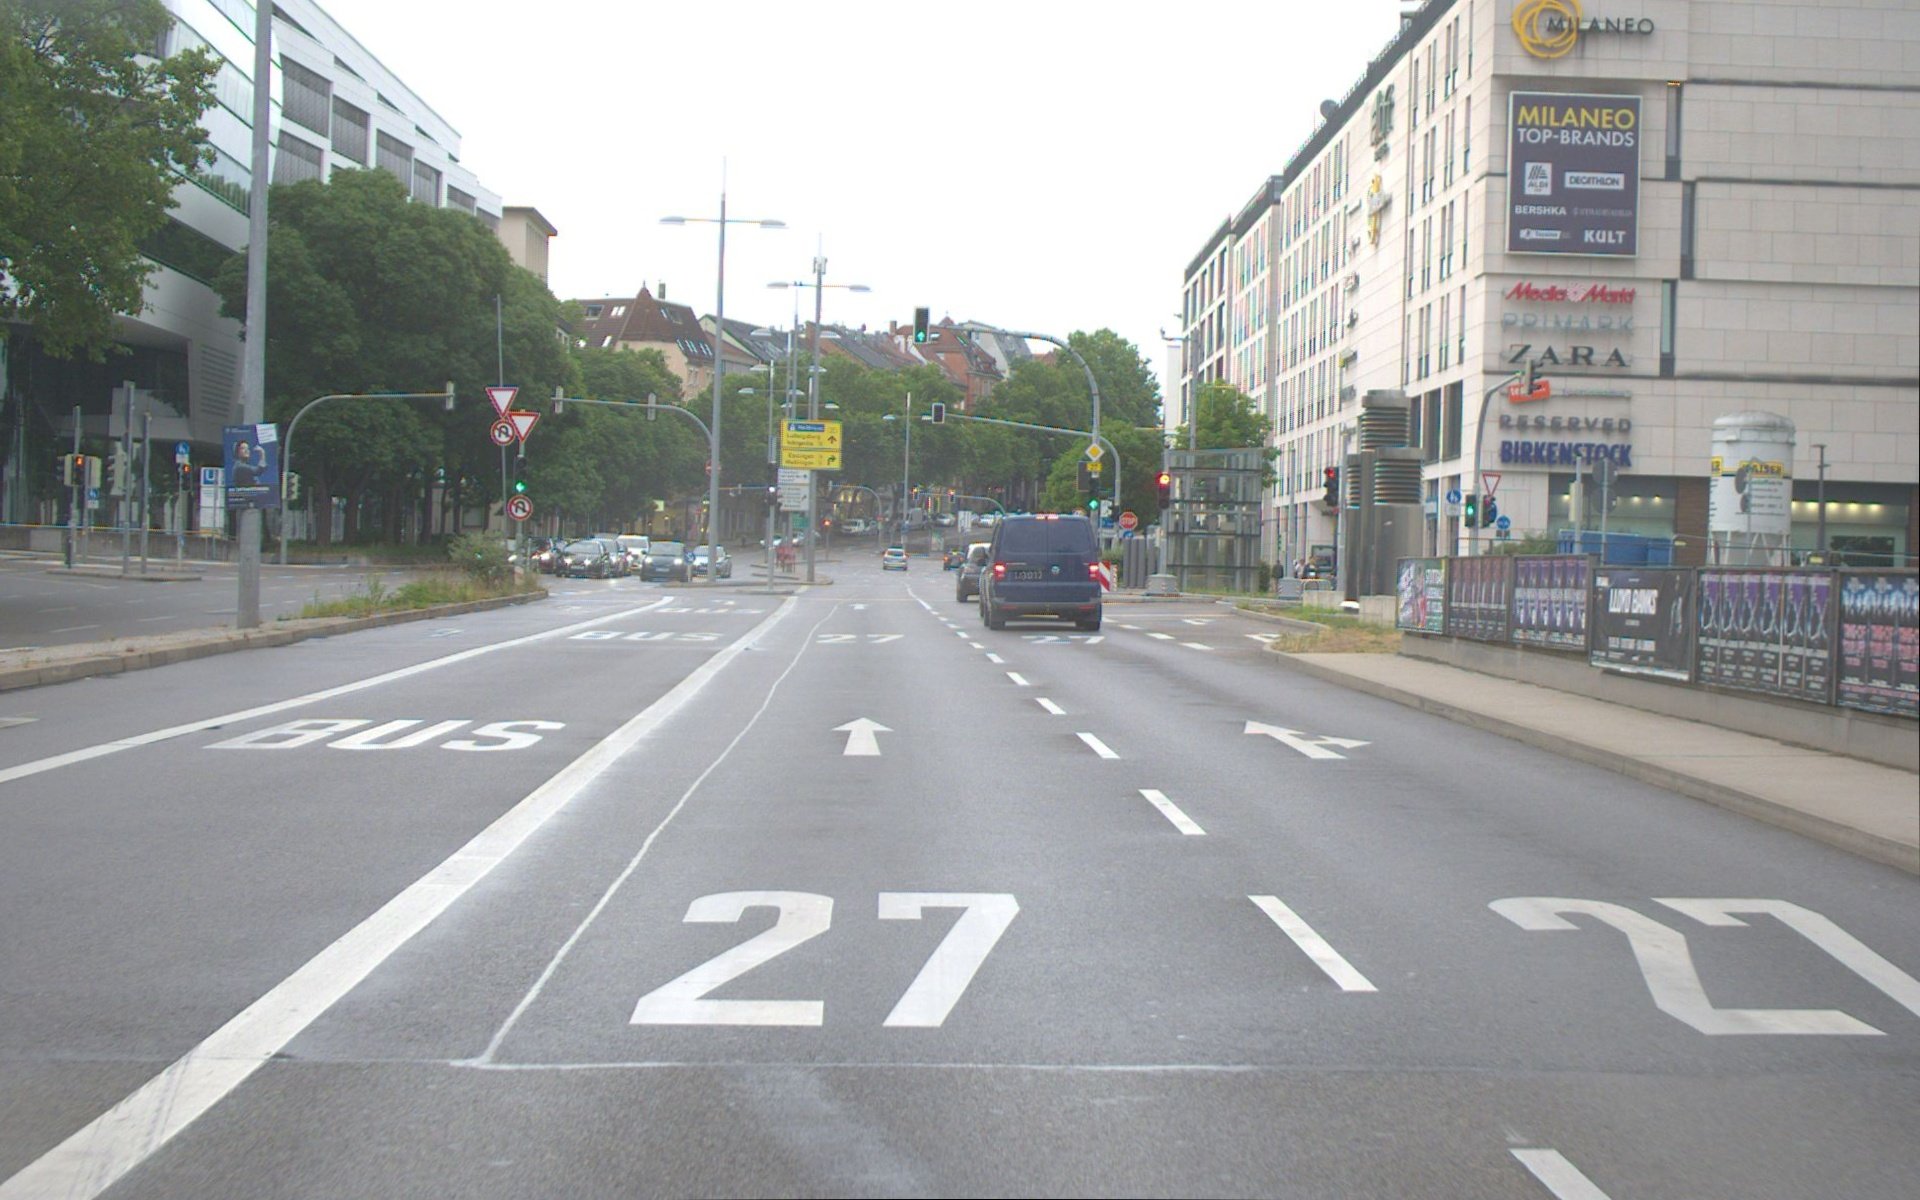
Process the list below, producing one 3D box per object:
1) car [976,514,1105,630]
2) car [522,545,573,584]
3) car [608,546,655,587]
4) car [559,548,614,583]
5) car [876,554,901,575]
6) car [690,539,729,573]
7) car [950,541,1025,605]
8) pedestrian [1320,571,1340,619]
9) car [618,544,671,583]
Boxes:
[{"bbox_3d":[1.351,-0.532,59.911,2.033,1.875,5.042,-2,1,0],"label":"car"},{"bbox_3d":[-17.308,-1.487,144.206,1.743,1.553,3.540,1,0,-1],"label":"car"},{"bbox_3d":[-14.537,-1.489,152.286,1.743,1.742,3.540,1,0,-1],"label":"car"},{"bbox_3d":[-14.262,-1.308,131.273,1.743,1.253,3.540,2,1,-1],"label":"car"},{"bbox_3d":[-5.335,-2.632,257.030,1.740,1.526,3.814,1,1,0],"label":"car"},{"bbox_3d":[-11.268,-1.960,154.656,1.538,1.472,3.696,1,0,-1],"label":"car"},{"bbox_3d":[0.665,-0.657,85.911,1.740,1.526,3.814,1,0,-1],"label":"car"},{"bbox_3d":[12.456,-0.153,115.754,0.550,1.605,0.698,1,0,-1],"label":"pedestrian"},{"bbox_3d":[-11.931,-1.376,130.268,1.743,1.439,3.395,1,0,-1],"label":"car"}]
